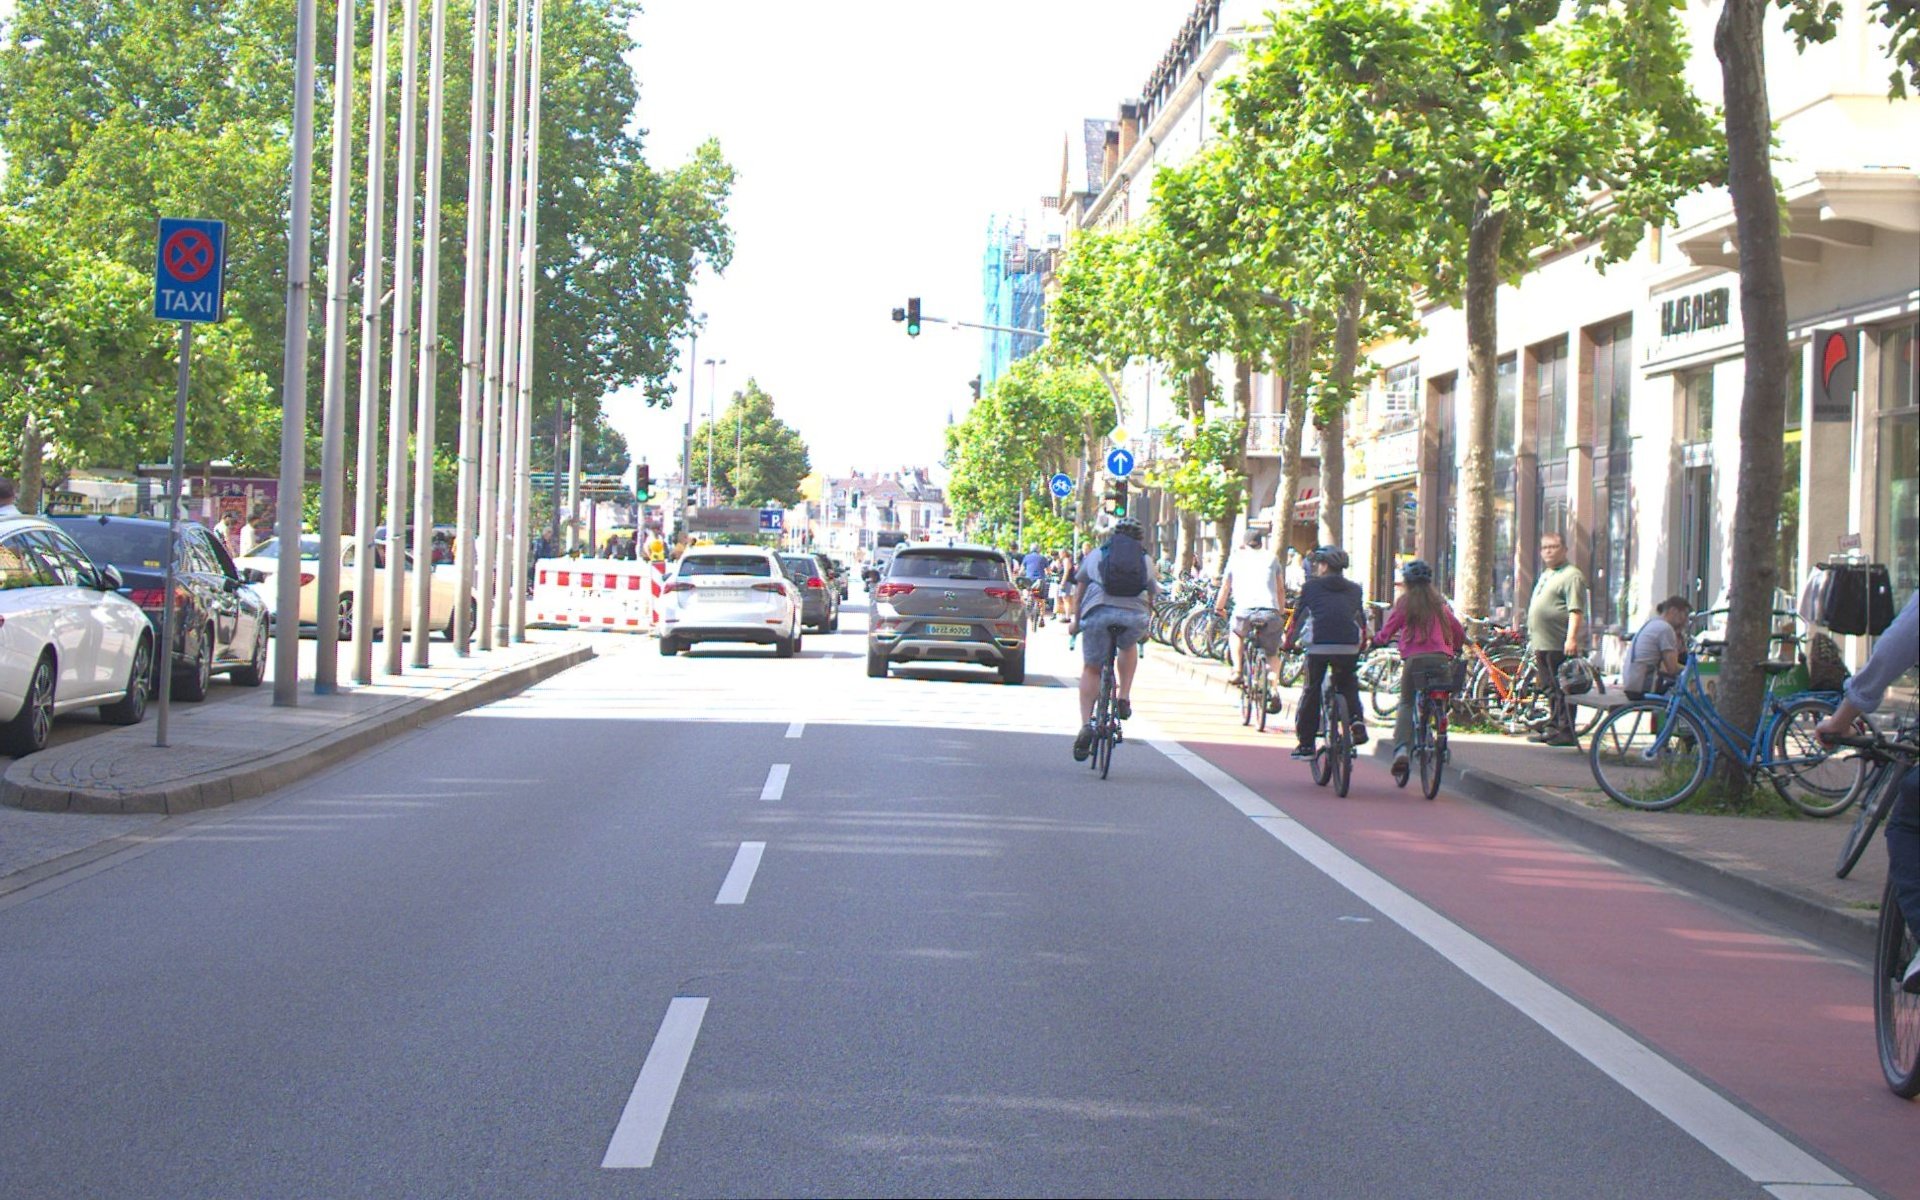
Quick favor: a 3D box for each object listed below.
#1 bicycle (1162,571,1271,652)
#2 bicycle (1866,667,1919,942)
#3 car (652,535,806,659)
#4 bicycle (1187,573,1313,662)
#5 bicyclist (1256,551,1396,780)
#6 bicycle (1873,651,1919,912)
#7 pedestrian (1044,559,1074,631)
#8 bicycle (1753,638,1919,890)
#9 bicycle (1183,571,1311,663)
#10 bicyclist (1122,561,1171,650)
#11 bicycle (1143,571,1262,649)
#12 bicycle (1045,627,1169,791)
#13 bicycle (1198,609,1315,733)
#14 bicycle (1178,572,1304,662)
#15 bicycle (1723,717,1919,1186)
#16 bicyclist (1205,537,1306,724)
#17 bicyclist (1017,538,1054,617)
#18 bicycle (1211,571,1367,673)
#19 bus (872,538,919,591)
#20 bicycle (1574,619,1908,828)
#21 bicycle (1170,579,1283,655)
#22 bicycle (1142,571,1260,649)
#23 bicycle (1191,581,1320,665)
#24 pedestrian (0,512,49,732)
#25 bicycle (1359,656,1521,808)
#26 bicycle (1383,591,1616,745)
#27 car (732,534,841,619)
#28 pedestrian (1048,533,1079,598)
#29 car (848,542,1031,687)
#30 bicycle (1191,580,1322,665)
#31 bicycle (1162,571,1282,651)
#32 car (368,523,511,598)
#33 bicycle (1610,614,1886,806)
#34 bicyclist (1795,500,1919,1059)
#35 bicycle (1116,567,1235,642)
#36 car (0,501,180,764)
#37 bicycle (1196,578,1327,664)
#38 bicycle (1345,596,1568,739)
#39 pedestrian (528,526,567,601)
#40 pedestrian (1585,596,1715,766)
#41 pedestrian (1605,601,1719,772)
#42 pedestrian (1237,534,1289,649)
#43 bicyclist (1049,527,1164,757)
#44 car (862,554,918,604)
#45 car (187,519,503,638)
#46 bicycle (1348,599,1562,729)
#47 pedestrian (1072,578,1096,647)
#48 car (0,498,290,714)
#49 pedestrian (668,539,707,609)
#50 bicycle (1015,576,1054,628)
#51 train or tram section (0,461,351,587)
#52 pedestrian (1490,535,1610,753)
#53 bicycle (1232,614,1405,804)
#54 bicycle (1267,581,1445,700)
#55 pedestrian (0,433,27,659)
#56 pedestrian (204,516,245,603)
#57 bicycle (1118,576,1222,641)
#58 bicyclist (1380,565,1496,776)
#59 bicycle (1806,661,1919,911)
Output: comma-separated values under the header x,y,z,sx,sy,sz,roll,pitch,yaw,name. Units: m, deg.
x,y,z,sx,sy,sz,roll,pitch,yaw,name
4.039,0.179,54.199,1.649,1.197,0.474,2,1,1,bicycle
4.742,0.875,14.110,1.840,1.089,0.564,3,0,-1,bicycle
-3.051,-0.075,46.004,1.845,1.554,4.000,1,1,-1,car
4.170,0.243,49.470,1.728,1.213,0.477,2,1,1,bicycle
2.384,0.413,22.462,0.698,1.436,0.791,3,0,-5,bicyclist
5.064,0.847,15.088,1.839,1.123,0.766,4,-1,-14,bicycle
2.432,-0.129,84.913,0.610,1.733,0.678,-3,0,-3,pedestrian
4.793,0.805,16.324,1.839,1.123,0.632,4,0,-12,bicycle
4.023,0.238,48.251,1.728,1.213,0.477,2,1,1,bicycle
3.778,0.111,69.693,0.573,1.791,0.857,-1,1,-36,bicyclist
3.899,0.159,55.416,1.844,1.197,0.545,2,1,1,bicycle
0.959,0.703,22.871,0.630,0.976,2.089,2,1,-2,bicycle
2.633,0.611,30.769,0.774,1.002,2.329,1,1,-1,bicycle
3.997,0.239,48.976,1.728,1.213,0.477,2,1,1,bicycle
2.779,0.947,9.408,0.698,1.123,2.082,3,0,-5,bicycle
2.639,0.263,30.746,0.774,1.629,0.851,1,1,-1,bicyclist
1.516,-0.458,68.849,0.647,1.545,0.817,2,0,-2,bicyclist
4.268,0.283,44.726,1.931,1.244,0.736,2,1,1,bicycle
-4.638,-2.479,243.304,2.994,3.582,11.745,2,0,-2,bus
4.716,0.745,20.778,1.839,1.123,0.497,4,2,-9,bicycle
4.081,0.254,52.678,1.649,1.091,0.607,2,1,1,bicycle
3.922,0.160,55.923,1.844,1.197,0.608,2,1,1,bicycle
4.113,0.321,47.892,1.728,1.105,0.477,2,1,1,bicycle
-7.887,0.171,28.212,0.532,1.786,0.538,2,1,38,pedestrian
3.112,0.841,22.461,0.600,0.923,2.088,0,0,-5,bicycle
4.505,0.560,28.800,1.840,1.193,0.673,2,0,6,bicycle
-3.076,-0.445,61.417,1.845,1.444,4.001,1,1,-2,car
2.458,-0.826,81.690,0.610,1.510,0.678,-3,0,-3,pedestrian
-0.290,0.123,39.538,1.845,1.554,4.001,1,1,-4,car
4.089,0.309,47.472,1.728,1.105,0.402,2,1,1,bicycle
4.156,0.180,54.615,1.844,1.197,0.474,2,1,1,bicycle
-14.469,-1.087,95.909,1.861,1.948,4.756,2,0,20,car
5.152,0.722,22.451,1.774,1.193,0.578,2,1,-29,bicycle
2.806,0.472,9.340,0.698,1.441,0.961,3,0,-5,bicyclist
3.785,0.077,60.334,1.932,1.253,0.705,2,1,-20,bicycle
-6.564,0.113,22.684,1.799,1.518,4.739,3,1,-1,car
4.125,0.286,47.058,1.728,1.105,0.402,2,1,1,bicycle
4.311,0.582,29.864,1.841,1.123,0.497,3,0,10,bicycle
-10.166,-0.900,84.672,0.633,1.804,0.730,2,0,20,pedestrian
5.218,0.609,26.016,0.787,1.239,0.576,3,-1,-4,pedestrian
5.194,0.634,25.442,0.639,1.228,0.597,3,-1,-4,pedestrian
4.335,-0.128,49.216,0.615,1.607,0.745,2,1,0,pedestrian
0.968,0.267,22.952,0.630,1.476,1.198,2,1,-2,bicyclist
-2.583,-0.785,126.301,1.845,1.662,4.001,3,1,-3,car
-8.673,-0.304,48.946,1.894,1.536,4.855,3,1,26,car
4.523,0.580,31.523,1.840,1.093,0.794,2,0,4,bicycle
2.763,0.277,76.592,0.523,1.516,0.641,1,0,2,pedestrian
-6.822,-0.001,28.478,1.761,1.594,4.710,2,1,-2,car
-6.260,-0.598,79.003,0.633,1.590,0.686,2,0,20,pedestrian
1.494,0.036,69.075,0.647,0.994,2.031,2,1,-2,bicycle
-26.419,-2.414,112.528,2.618,3.664,15.517,2,1,34,train or tram section
4.755,0.346,27.747,0.639,1.683,0.843,4,1,-4,pedestrian
2.347,0.694,22.742,0.698,1.123,2.082,3,0,-5,bicycle
4.320,0.439,37.628,1.840,1.182,0.670,3,0,4,bicycle
-7.903,-0.436,27.259,0.619,1.786,0.691,2,1,38,pedestrian
-15.083,-0.824,70.531,0.584,1.716,0.789,2,-3,1,pedestrian
3.737,0.156,61.215,1.781,1.118,0.563,1,1,-4,bicycle
3.115,0.454,22.460,0.600,1.353,0.721,0,-1,-5,bicyclist
4.904,0.876,15.827,1.839,1.089,0.565,3,0,-12,bicycle
